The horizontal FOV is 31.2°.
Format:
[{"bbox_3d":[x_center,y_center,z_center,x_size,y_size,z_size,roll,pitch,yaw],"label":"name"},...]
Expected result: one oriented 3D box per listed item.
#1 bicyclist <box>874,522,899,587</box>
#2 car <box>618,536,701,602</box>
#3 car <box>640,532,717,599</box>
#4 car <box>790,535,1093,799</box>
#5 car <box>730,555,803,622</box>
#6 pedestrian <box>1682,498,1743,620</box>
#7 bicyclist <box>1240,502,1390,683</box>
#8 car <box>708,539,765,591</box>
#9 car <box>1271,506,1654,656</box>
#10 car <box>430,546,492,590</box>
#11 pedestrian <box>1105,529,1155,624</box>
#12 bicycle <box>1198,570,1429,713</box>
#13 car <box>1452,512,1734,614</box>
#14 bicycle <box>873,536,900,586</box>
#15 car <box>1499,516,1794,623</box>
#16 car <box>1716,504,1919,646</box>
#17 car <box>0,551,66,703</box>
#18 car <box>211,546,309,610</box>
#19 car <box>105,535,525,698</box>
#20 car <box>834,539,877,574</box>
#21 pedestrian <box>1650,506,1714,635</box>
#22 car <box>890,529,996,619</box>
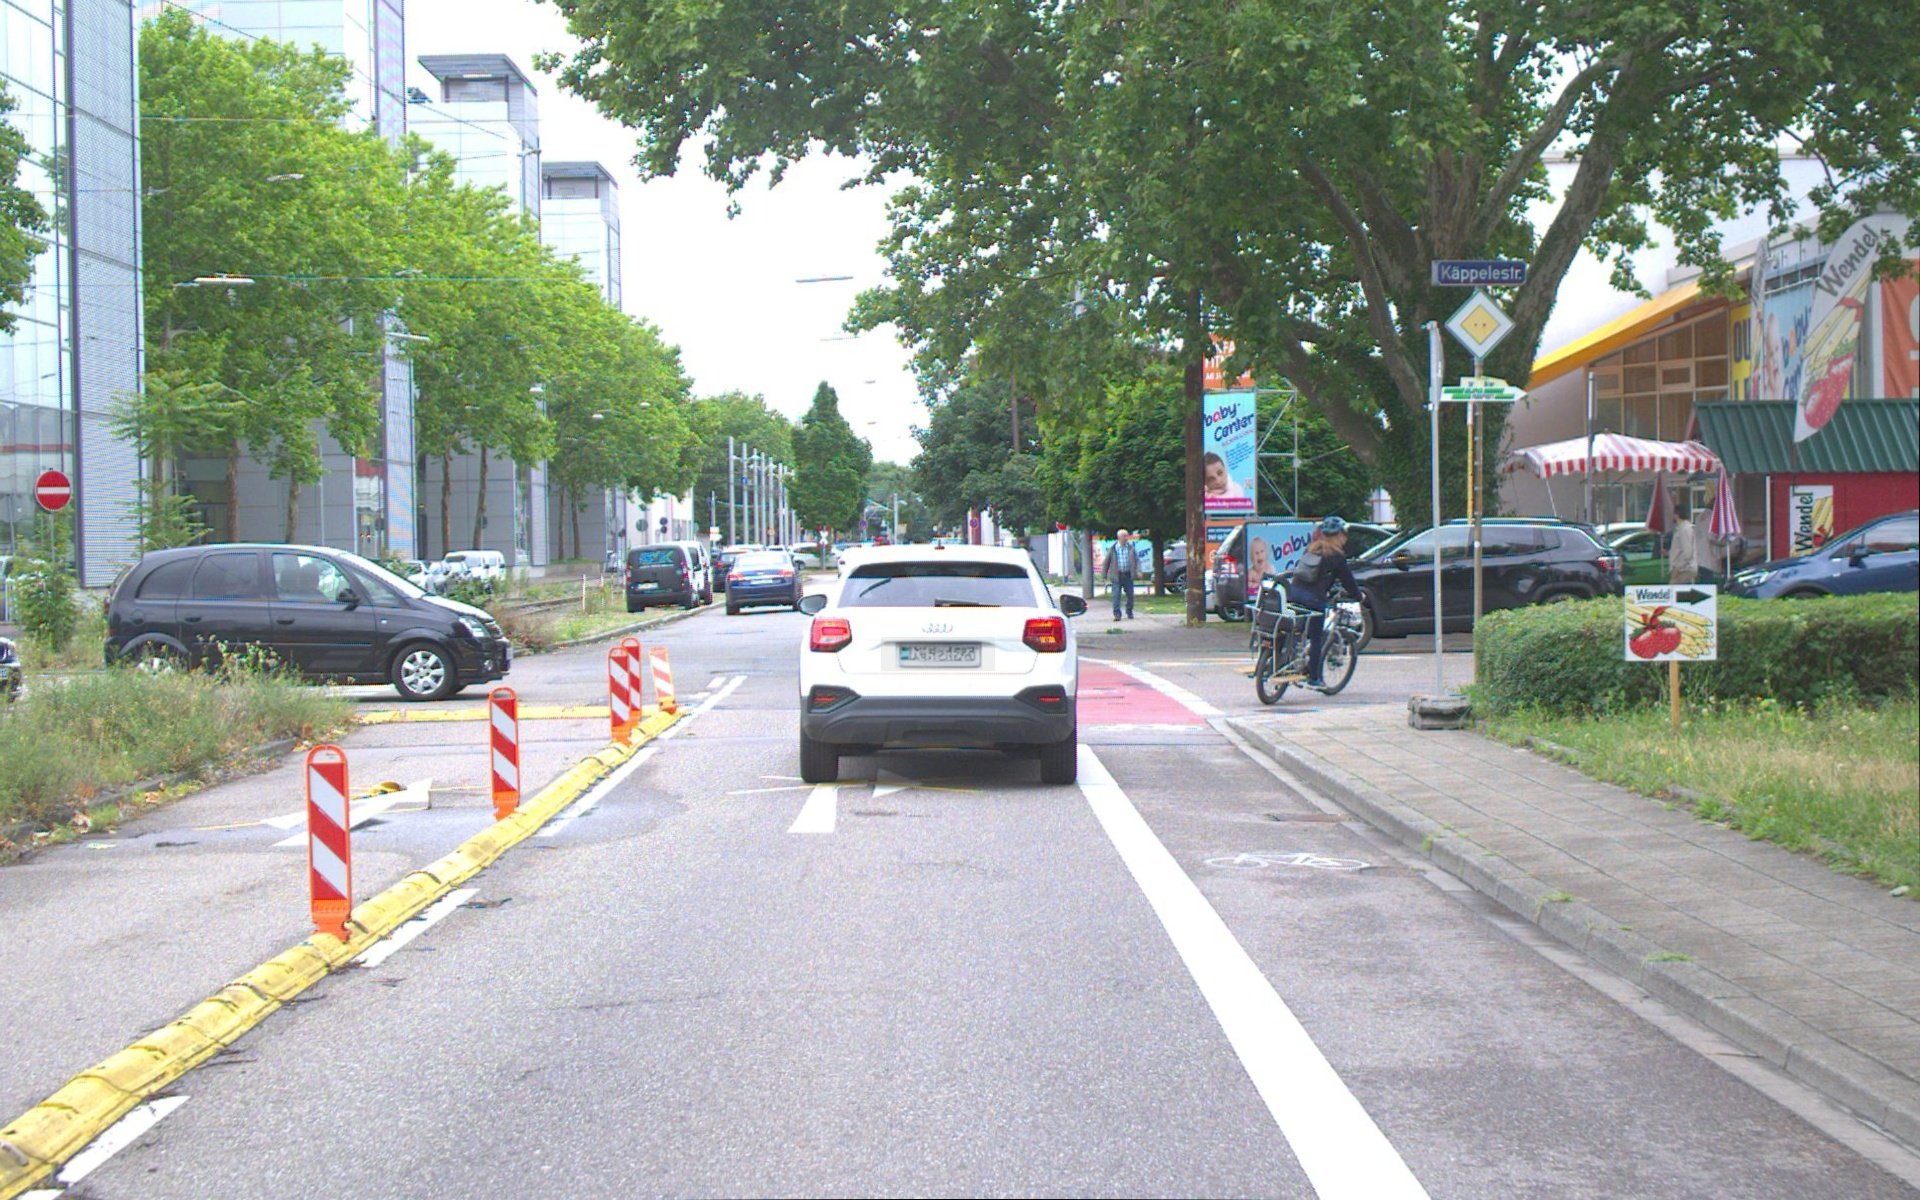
[{"bbox_3d":[-2.078,-1.285,97.066,0.670,1.809,0.760,0,1,-3],"label":"bicyclist"},{"bbox_3d":[-7.789,-0.830,89.389,1.877,1.627,4.000,-2,1,-2],"label":"car"},{"bbox_3d":[-7.783,-0.981,95.205,1.877,1.757,4.000,-2,1,-2],"label":"car"},{"bbox_3d":[-0.204,0.377,23.011,1.823,1.595,3.776,0,1,-3],"label":"car"},{"bbox_3d":[-4.568,-0.294,81.217,1.684,1.508,3.706,0,1,-3],"label":"car"},{"bbox_3d":[10.672,-0.589,48.782,0.679,1.699,0.598,-2,1,-2],"label":"pedestrian"},{"bbox_3d":[3.277,-0.080,31.724,0.818,1.624,1.232,-1,1,38],"label":"bicyclist"},{"bbox_3d":[-8.018,-1.277,123.608,1.877,1.757,4.000,-2,1,-2],"label":"car"},{"bbox_3d":[6.046,-0.240,41.748,4.314,1.671,1.993,-1,1,0],"label":"car"},{"bbox_3d":[-19.341,-1.267,133.397,1.877,1.627,4.206,-2,1,-2],"label":"car"},{"bbox_3d":[3.096,-0.425,62.614,0.760,1.699,0.681,-2,1,-5],"label":"pedestrian"},{"bbox_3d":[3.291,0.363,31.733,0.818,1.208,2.677,-1,1,37],"label":"bicycle"},{"bbox_3d":[10.329,-0.612,56.270,4.212,1.546,1.790,-1,1,-3],"label":"car"},{"bbox_3d":[-2.076,-1.107,96.944,0.670,1.389,2.167,0,1,-3],"label":"bicycle"},{"bbox_3d":[10.779,-0.482,54.127,4.212,1.546,1.790,-1,1,-3],"label":"car"},{"bbox_3d":[11.599,-0.342,42.451,4.214,1.671,1.992,-1,1,7],"label":"car"},{"bbox_3d":[-11.124,0.340,33.964,4.121,1.470,1.823,-2,-1,22],"label":"car"},{"bbox_3d":[-19.105,-0.620,93.991,1.877,1.627,4.206,-2,1,-2],"label":"car"},{"bbox_3d":[-6.442,0.150,34.616,3.883,1.550,1.825,1,0,-1],"label":"car"},{"bbox_3d":[-4.591,-1.913,150.633,1.795,1.508,3.706,0,1,-3],"label":"car"},{"bbox_3d":[9.676,-0.401,46.084,0.679,1.699,0.598,-2,1,-2],"label":"pedestrian"},{"bbox_3d":[-0.353,-0.521,65.676,1.877,1.627,4.000,-2,1,-2],"label":"car"}]
